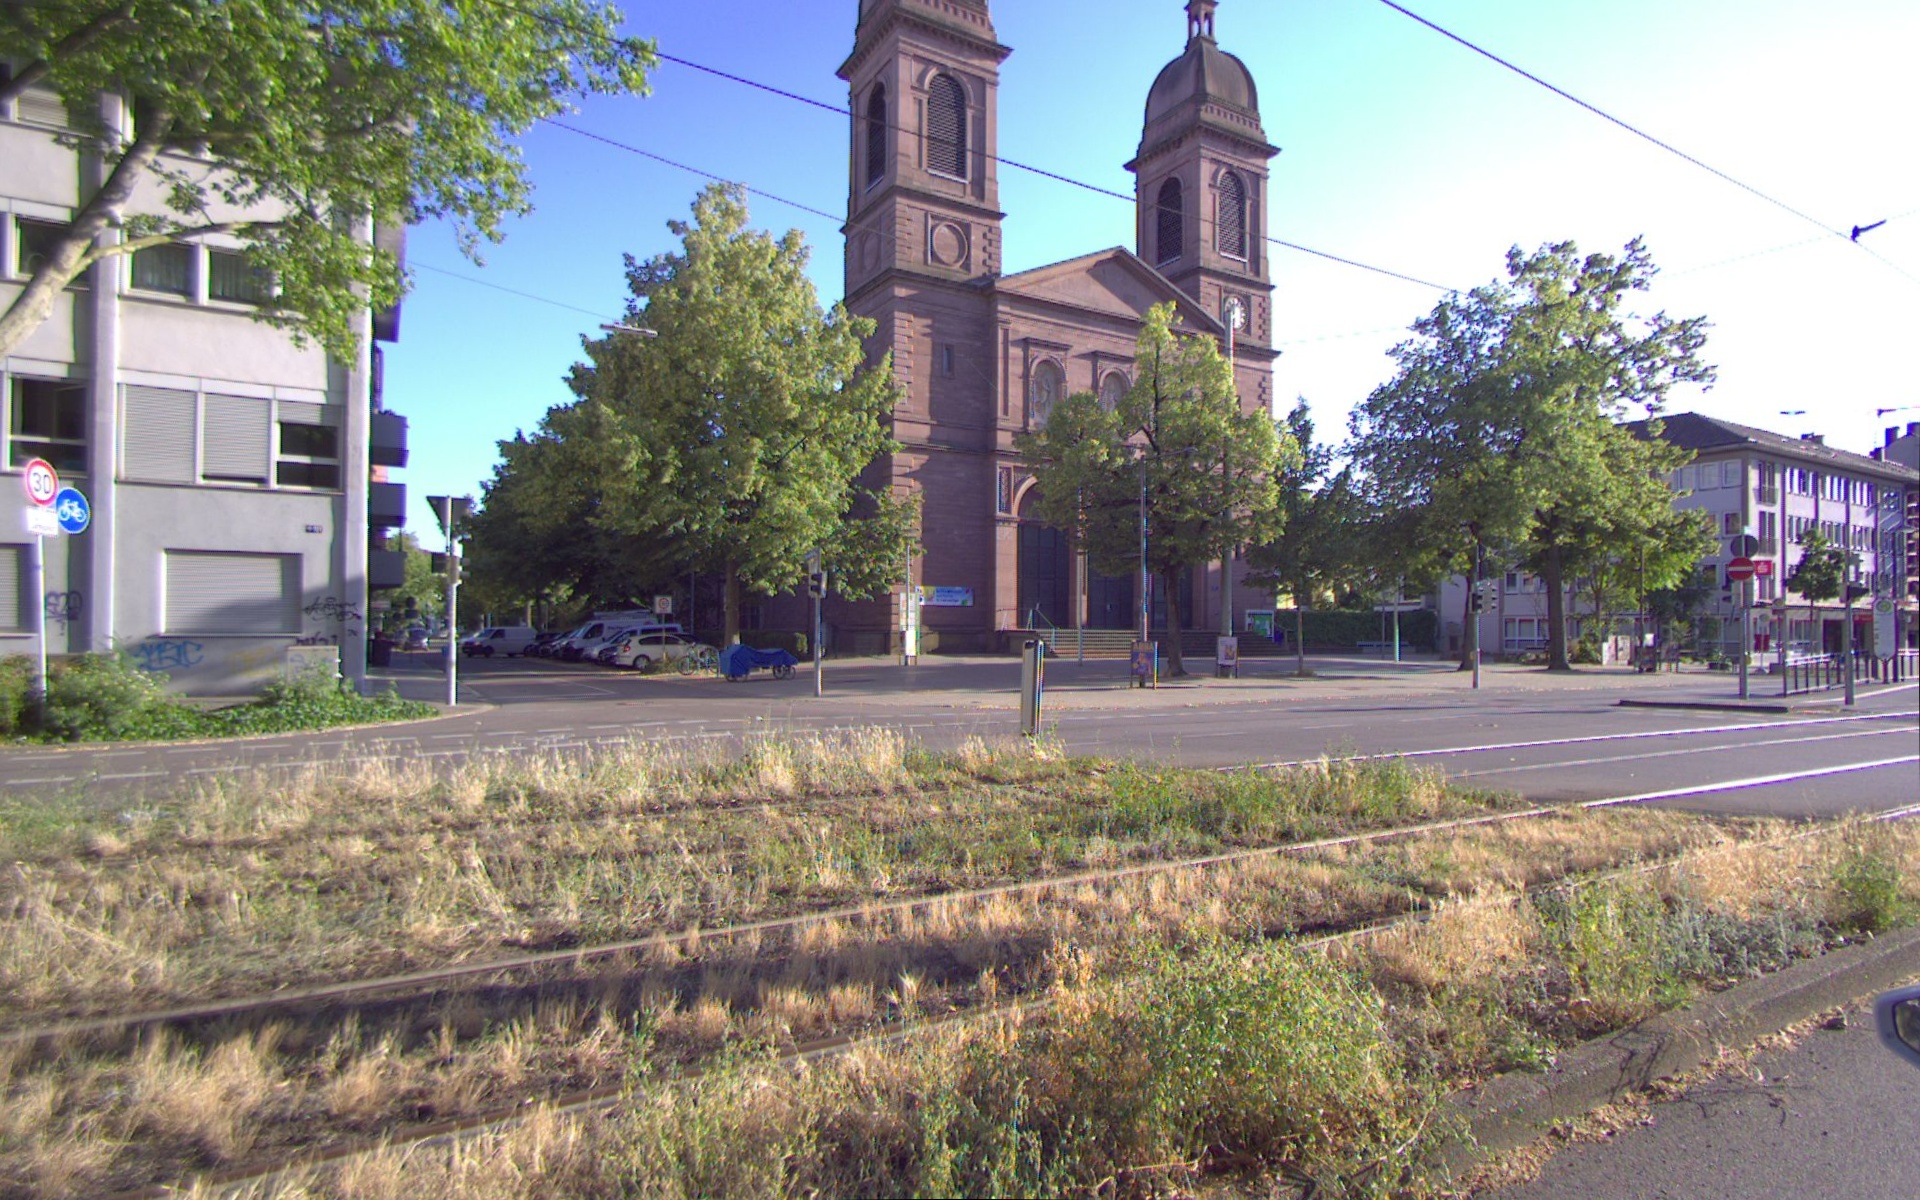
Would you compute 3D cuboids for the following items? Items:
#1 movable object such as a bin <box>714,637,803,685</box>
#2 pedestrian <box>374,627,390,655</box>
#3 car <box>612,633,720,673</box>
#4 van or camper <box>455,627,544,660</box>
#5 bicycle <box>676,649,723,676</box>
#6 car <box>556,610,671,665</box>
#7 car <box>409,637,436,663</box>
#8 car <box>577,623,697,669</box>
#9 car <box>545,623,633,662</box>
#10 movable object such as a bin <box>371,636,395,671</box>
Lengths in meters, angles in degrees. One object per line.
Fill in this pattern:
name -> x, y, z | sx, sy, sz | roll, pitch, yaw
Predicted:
movable object such as a bin -> -6.149, 1.844, 30.717 | 2.416, 1.228, 1.102 | -3, 2, -30
pedestrian -> -36.441, 2.562, 63.308 | 0.633, 1.774, 0.685 | -1, -2, 41
car -> -12.222, 2.193, 41.827 | 3.953, 1.479, 1.984 | 2, 0, -30
van or camper -> -29.991, 2.798, 65.580 | 1.963, 2.040, 5.129 | 0, -2, 27
bicycle -> -9.057, 2.176, 34.967 | 1.517, 0.904, 0.465 | 2, 0, -27
car -> -18.290, 1.979, 53.114 | 5.382, 2.710, 1.980 | 2, 0, -36
car -> -45.764, 4.229, 85.476 | 1.976, 2.040, 3.970 | 1, -2, -29
car -> -15.518, 2.194, 48.321 | 5.121, 2.040, 1.981 | 2, 0, -34
car -> -20.419, 2.323, 55.272 | 4.174, 2.040, 1.981 | 2, 0, -34
movable object such as a bin -> -22.298, 2.046, 38.811 | 0.737, 1.323, 0.865 | 1, -2, -32
